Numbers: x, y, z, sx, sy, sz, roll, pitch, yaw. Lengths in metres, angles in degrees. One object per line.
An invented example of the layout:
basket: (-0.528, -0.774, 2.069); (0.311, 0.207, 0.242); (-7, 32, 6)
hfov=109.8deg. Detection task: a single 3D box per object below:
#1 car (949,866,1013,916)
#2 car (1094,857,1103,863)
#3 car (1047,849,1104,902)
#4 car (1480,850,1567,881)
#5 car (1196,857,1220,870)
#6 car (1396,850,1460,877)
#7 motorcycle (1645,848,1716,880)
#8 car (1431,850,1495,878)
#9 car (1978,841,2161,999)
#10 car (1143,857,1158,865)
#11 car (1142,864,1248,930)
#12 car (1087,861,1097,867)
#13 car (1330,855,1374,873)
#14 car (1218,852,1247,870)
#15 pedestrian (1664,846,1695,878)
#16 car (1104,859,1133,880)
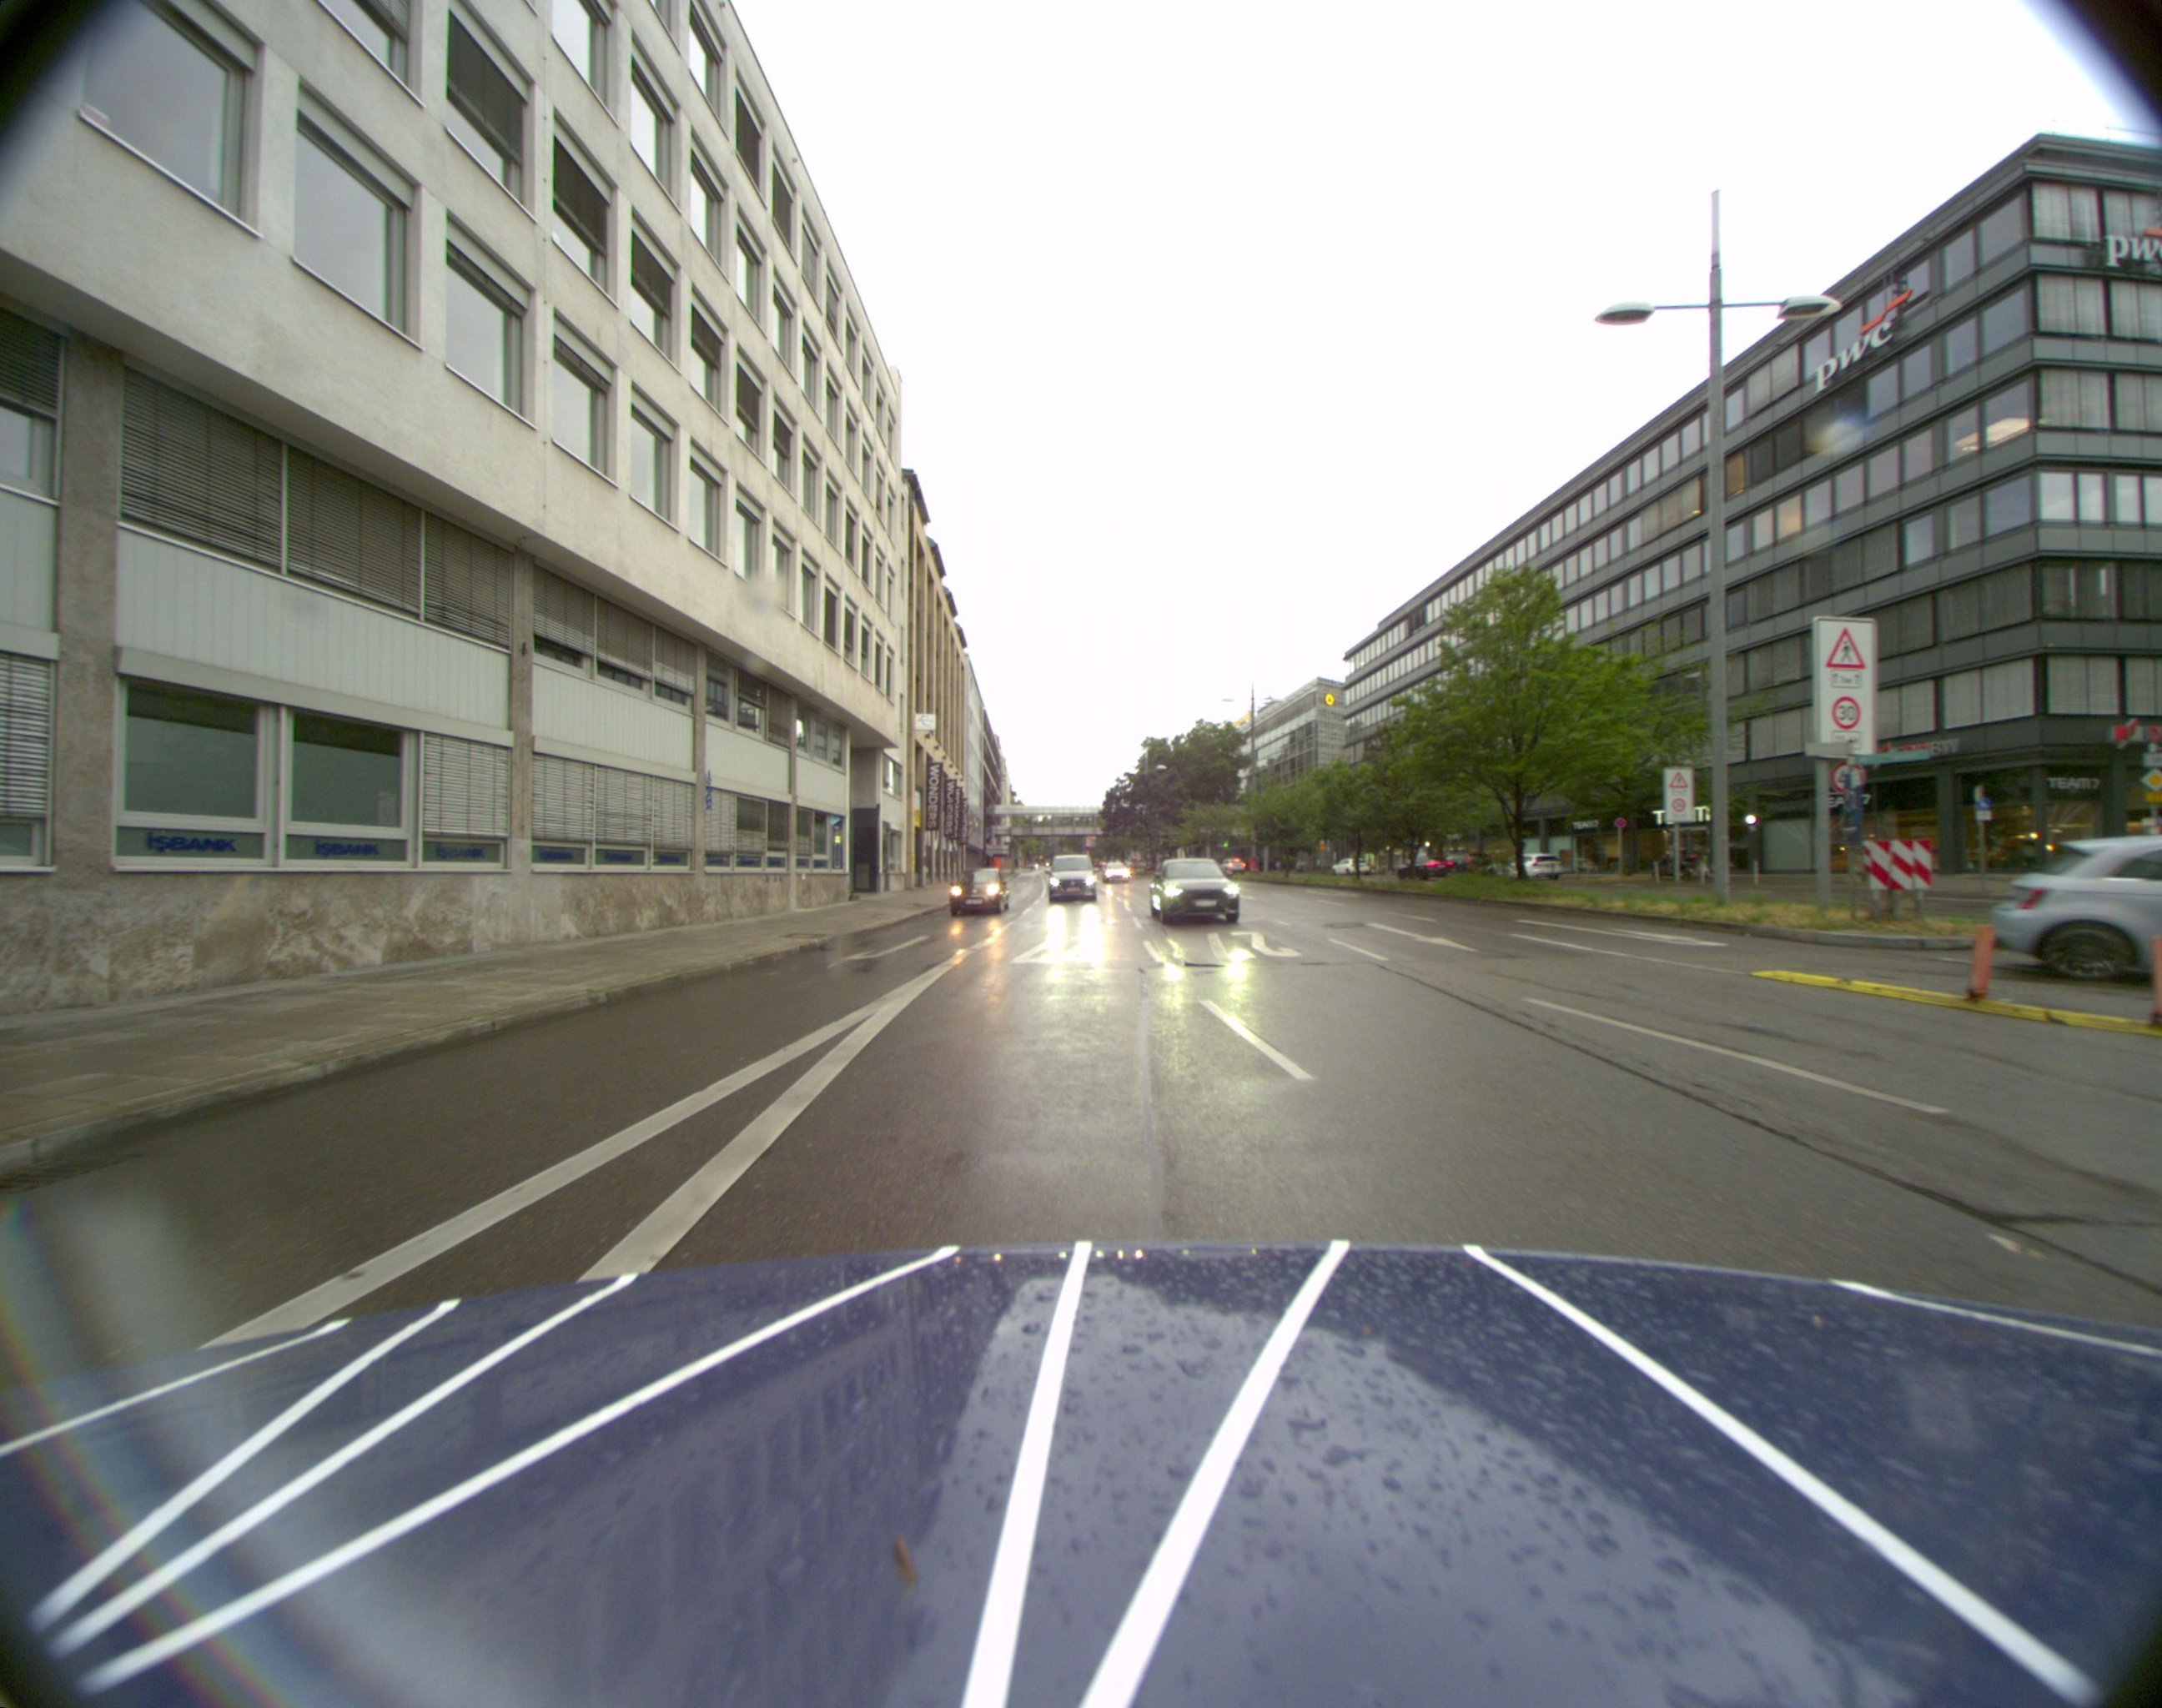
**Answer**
car: (-3.207, 1.166, 24.959); (1.666, 1.464, 3.483); (-1, 0, -1)
car: (4.303, 1.501, 187.034); (1.733, 1.303, 4.075); (-1, 0, -7)
car: (-0.329, 0.848, 31.945); (2.163, 2.014, 5.040); (-1, 0, -3)
car: (24.552, 0.624, 42.379); (1.813, 1.476, 4.771); (-4, 0, -3)
car: (14.550, 1.088, 87.163); (1.687, 1.423, 4.082); (-1, 0, -4)
car: (21.180, 0.580, 46.568); (1.998, 1.535, 4.484); (-1, 0, 3)
motorcycle: (27.412, 0.466, 34.796); (0.861, 1.386, 2.364); (-5, 2, -29)
car: (24.293, 0.630, 48.517); (1.813, 1.651, 4.309); (-2, 0, -1)
car: (11.827, 0.638, 7.574); (1.793, 1.564, 3.681); (-1, 0, -41)
car: (12.566, 1.296, 137.783); (1.814, 1.467, 4.299); (-1, 0, -5)
car: (2.766, 0.998, 19.404); (1.941, 1.426, 4.287); (-1, 0, -2)
car: (2.608, 2.345, 180.540); (1.732, 1.302, 4.075); (-2, 0, -6)
car: (23.117, 0.860, 65.016); (1.814, 1.436, 4.308); (-2, 0, -6)
car: (15.618, 0.694, 78.525); (1.742, 1.717, 4.491); (-2, 0, -5)
pedestrian: (30.594, 0.419, 38.878); (0.786, 1.628, 0.965); (-1, 0, -3)
car: (2.711, 1.110, 55.464); (1.853, 1.434, 3.870); (-1, 0, -1)
